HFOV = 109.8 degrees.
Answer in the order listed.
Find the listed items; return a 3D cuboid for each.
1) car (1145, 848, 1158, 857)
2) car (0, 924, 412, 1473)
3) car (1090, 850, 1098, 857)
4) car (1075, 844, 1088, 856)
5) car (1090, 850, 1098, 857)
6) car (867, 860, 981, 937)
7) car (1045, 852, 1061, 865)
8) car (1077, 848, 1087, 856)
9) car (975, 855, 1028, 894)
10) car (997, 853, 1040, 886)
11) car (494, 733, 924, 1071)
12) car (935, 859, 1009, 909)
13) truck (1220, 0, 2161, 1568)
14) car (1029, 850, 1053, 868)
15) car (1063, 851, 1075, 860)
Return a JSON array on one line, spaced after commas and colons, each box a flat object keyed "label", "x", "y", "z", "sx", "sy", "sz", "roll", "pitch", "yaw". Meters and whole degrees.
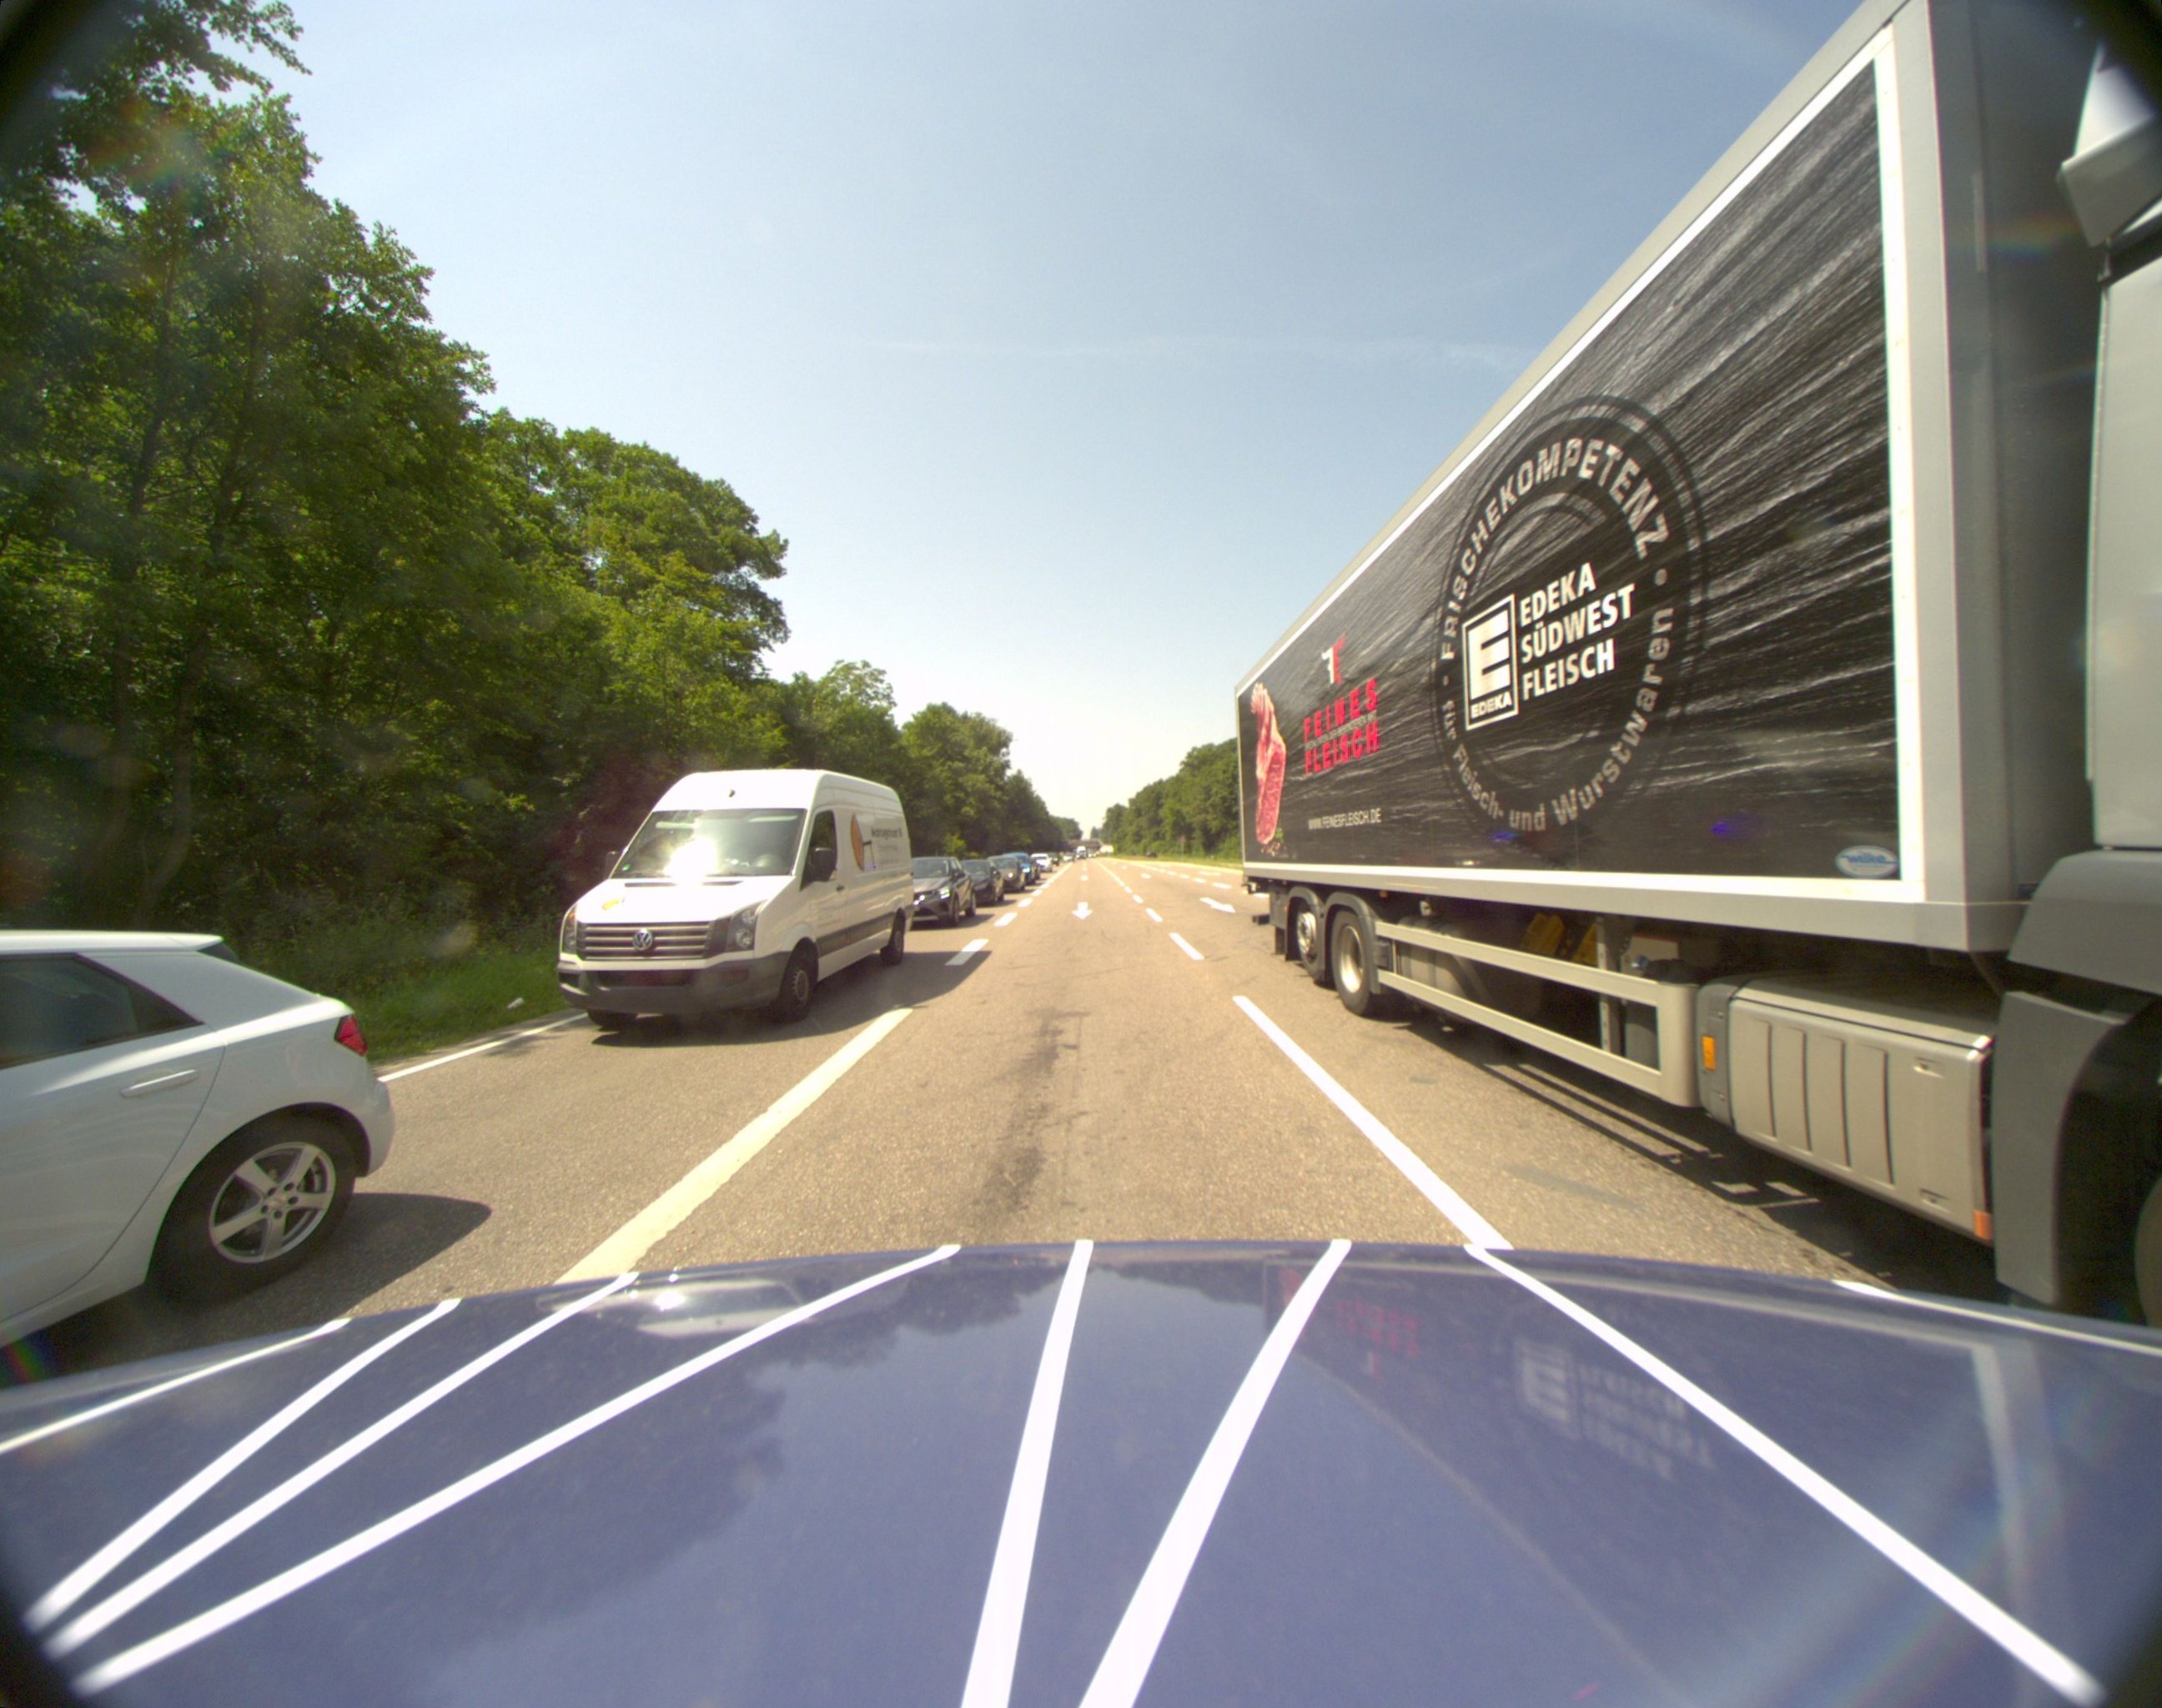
[{"label": "car", "x": 13.349, "y": -0.246, "z": 144.082, "sx": 1.998, "sy": 1.543, "sz": 3.999, "roll": -2, "pitch": 1, "yaw": 0}, {"label": "car", "x": -3.972, "y": 1.084, "z": 1.417, "sx": 1.693, "sy": 1.427, "sz": 4.000, "roll": -3, "pitch": 0, "yaw": 3}, {"label": "car", "x": 3.624, "y": -0.127, "z": 211.560, "sx": 1.998, "sy": 1.867, "sz": 4.000, "roll": 0, "pitch": 1, "yaw": 1}, {"label": "car", "x": 0.143, "y": -0.892, "z": 179.394, "sx": 2.673, "sy": 2.685, "sz": 6.330, "roll": 0, "pitch": 1, "yaw": 2}, {"label": "car", "x": 3.143, "y": -0.105, "z": 188.090, "sx": 1.998, "sy": 1.543, "sz": 3.999, "roll": 0, "pitch": 0, "yaw": 0}, {"label": "car", "x": -3.523, "y": 0.928, "z": 17.799, "sx": 1.796, "sy": 1.452, "sz": 4.227, "roll": -2, "pitch": 1, "yaw": -1}, {"label": "car", "x": -3.225, "y": 0.500, "z": 88.571, "sx": 1.796, "sy": 1.431, "sz": 4.227, "roll": -1, "pitch": 1, "yaw": -1}, {"label": "car", "x": 0.143, "y": -0.461, "z": 150.219, "sx": 1.992, "sy": 1.575, "sz": 4.364, "roll": -1, "pitch": 1, "yaw": -1}, {"label": "car", "x": -3.212, "y": 0.811, "z": 31.405, "sx": 1.796, "sy": 1.431, "sz": 4.227, "roll": -1, "pitch": 1, "yaw": -1}, {"label": "car", "x": -3.039, "y": 0.721, "z": 37.472, "sx": 1.796, "sy": 1.431, "sz": 4.227, "roll": -1, "pitch": 1, "yaw": -1}, {"label": "car", "x": -3.602, "y": 0.379, "z": 9.104, "sx": 1.974, "sy": 2.630, "sz": 6.059, "roll": -2, "pitch": 0, "yaw": 1}, {"label": "car", "x": -3.368, "y": 0.884, "z": 24.186, "sx": 1.796, "sy": 1.348, "sz": 4.227, "roll": -1, "pitch": 1, "yaw": -1}, {"label": "truck", "x": 3.544, "y": -0.492, "z": 5.373, "sx": 2.753, "sy": 3.862, "sz": 11.318, "roll": -2, "pitch": 1, "yaw": -1}, {"label": "car", "x": -3.177, "y": 0.365, "z": 61.250, "sx": 1.796, "sy": 1.431, "sz": 4.227, "roll": 0, "pitch": 1, "yaw": -1}, {"label": "car", "x": -2.013, "y": 0.249, "z": 127.332, "sx": 1.796, "sy": 1.431, "sz": 4.227, "roll": -1, "pitch": 1, "yaw": -1}]
